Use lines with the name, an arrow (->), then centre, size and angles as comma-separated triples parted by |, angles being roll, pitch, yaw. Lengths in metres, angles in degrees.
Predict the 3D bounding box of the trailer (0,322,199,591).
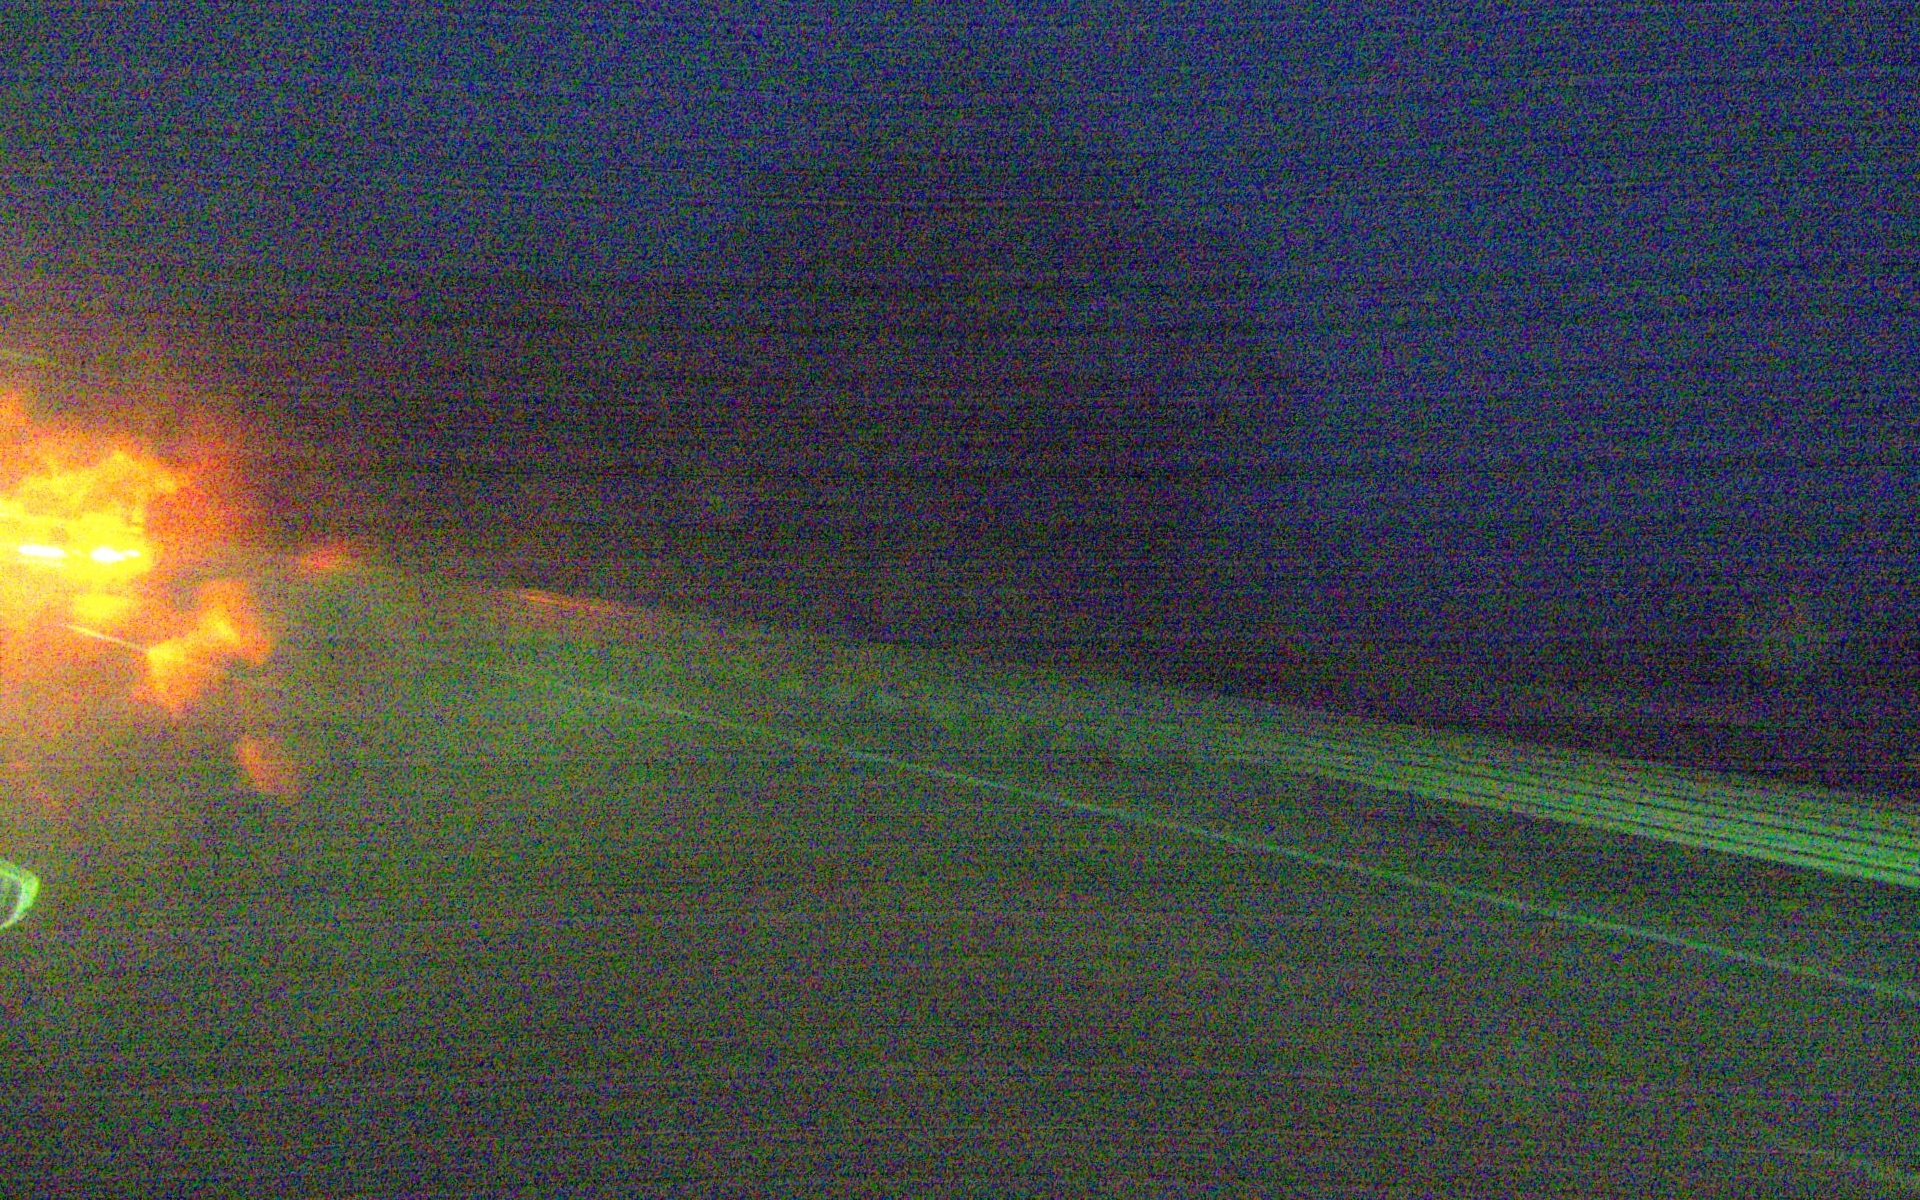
trailer -> -20.703, -3.023, 20.737 | 13.598, 4.162, 3.043 | 7, 2, 31

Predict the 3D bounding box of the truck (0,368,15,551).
truck -> -25.168, -3.581, 23.414 | 5.701, 4.162, 3.043 | 7, 2, 31
